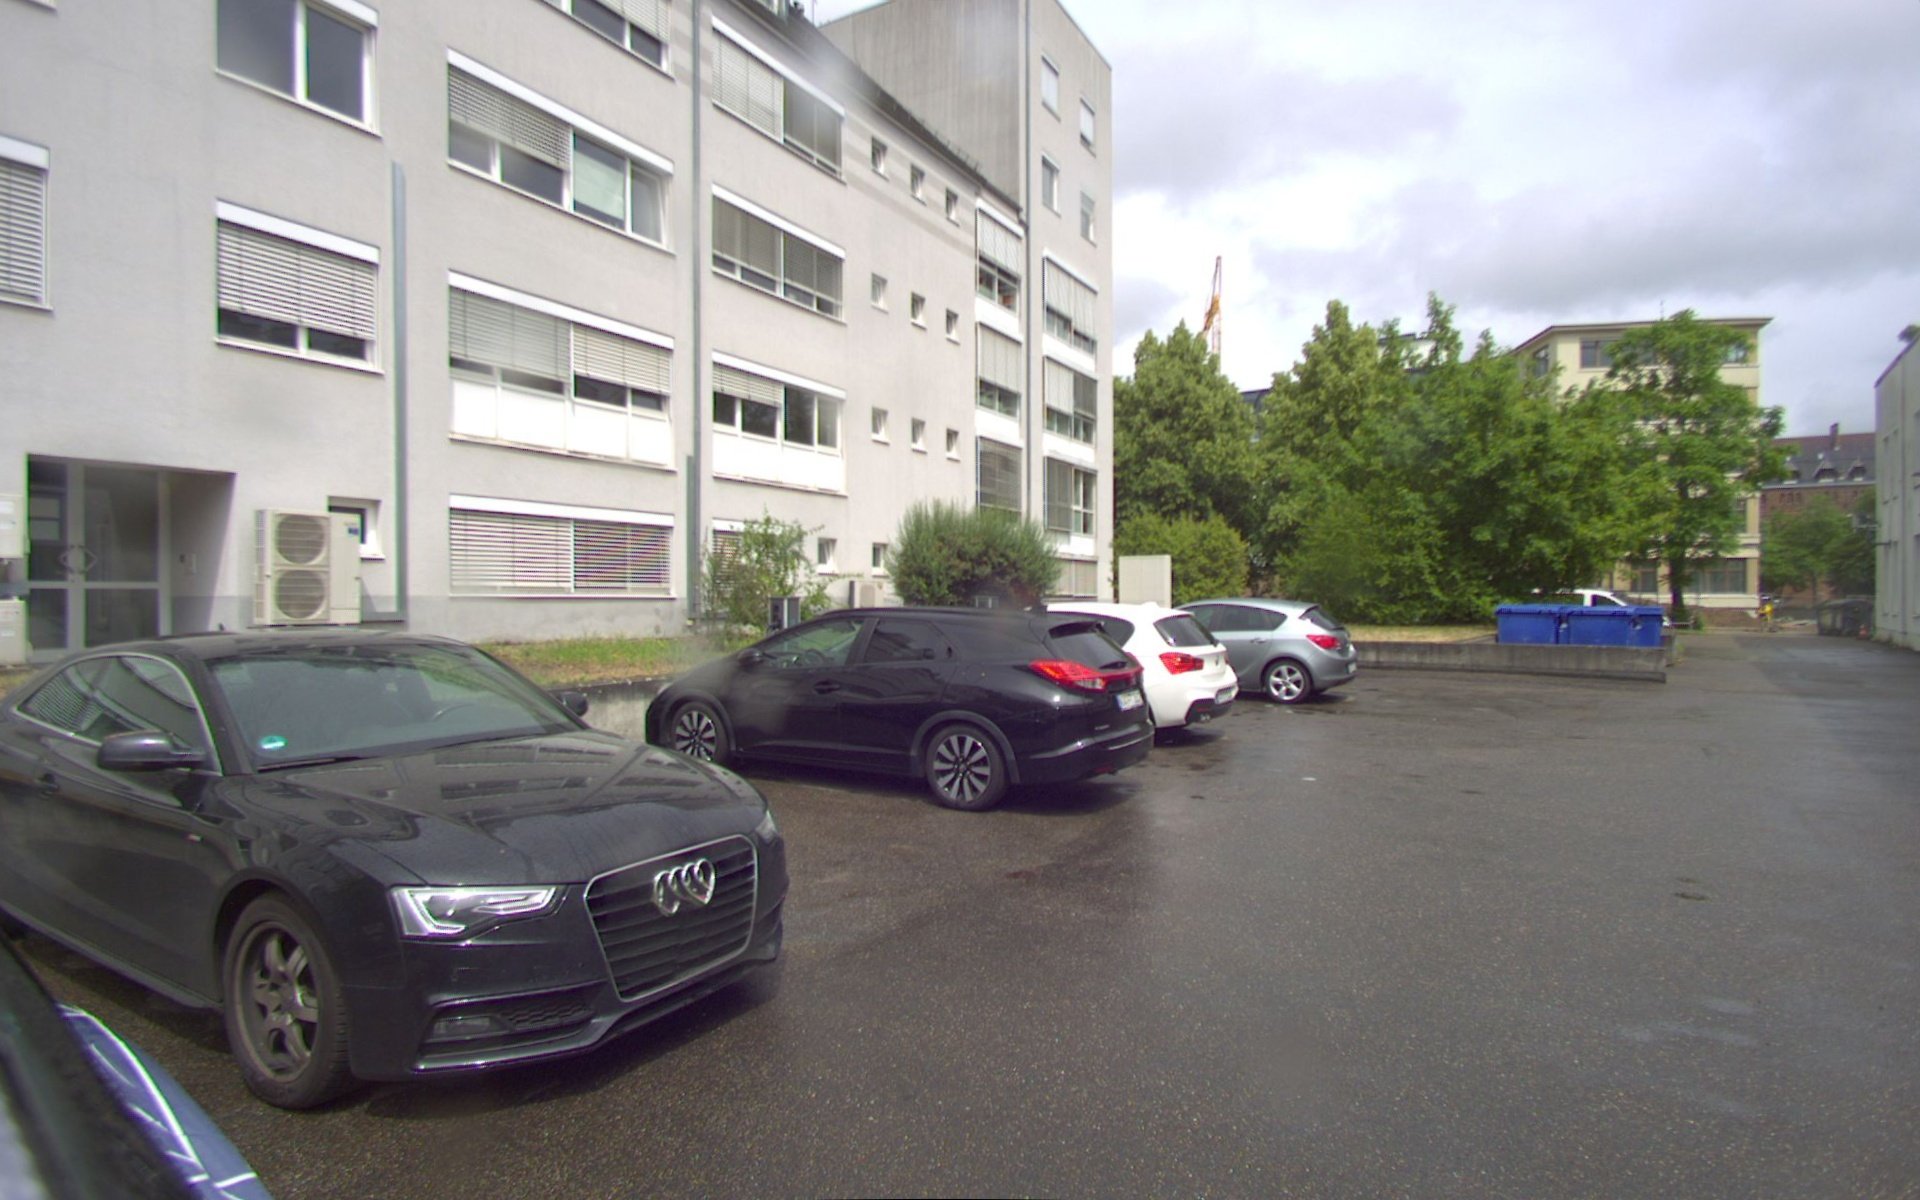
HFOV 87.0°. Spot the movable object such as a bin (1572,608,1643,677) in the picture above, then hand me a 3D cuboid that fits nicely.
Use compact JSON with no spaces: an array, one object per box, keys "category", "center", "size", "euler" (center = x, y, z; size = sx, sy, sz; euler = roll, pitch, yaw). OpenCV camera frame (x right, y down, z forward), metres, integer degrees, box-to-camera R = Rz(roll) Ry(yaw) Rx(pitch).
[{"category":"movable object such as a bin","center":[13.299,0.850,20.790],"size":[1.094,1.335,1.192],"euler":[-1,0,39]}]

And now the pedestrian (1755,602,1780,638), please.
[{"category":"pedestrian","center":[41.782,1.020,52.368],"size":[0.857,1.827,0.855],"euler":[-1,0,31]}]

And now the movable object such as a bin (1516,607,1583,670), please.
[{"category":"movable object such as a bin","center":[13.319,0.846,22.851],"size":[1.130,1.338,1.192],"euler":[-1,0,39]}]

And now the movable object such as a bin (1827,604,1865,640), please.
[{"category":"movable object such as a bin","center":[34.498,0.840,39.422],"size":[1.045,1.366,1.192],"euler":[-1,0,39]}]

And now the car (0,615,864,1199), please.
[{"category":"car","center":[-2.740,0.799,4.316],"size":[4.512,1.362,1.745],"euler":[1,1,31]}]

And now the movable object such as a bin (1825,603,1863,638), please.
[{"category":"movable object such as a bin","center":[35.348,0.825,40.496],"size":[1.062,1.366,1.202],"euler":[-1,0,39]}]

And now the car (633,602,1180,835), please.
[{"category":"car","center":[-0.528,0.771,8.397],"size":[4.298,1.453,1.745],"euler":[1,1,30]}]

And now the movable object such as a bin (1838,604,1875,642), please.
[{"category":"movable object such as a bin","center":[33.647,0.854,37.997],"size":[0.978,1.366,0.907],"euler":[-1,0,39]}]

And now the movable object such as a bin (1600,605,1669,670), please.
[{"category":"movable object such as a bin","center":[14.654,0.794,21.966],"size":[1.130,1.338,1.192],"euler":[-1,0,39]}]

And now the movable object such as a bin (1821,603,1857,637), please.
[{"category":"movable object such as a bin","center":[36.263,0.810,41.761],"size":[1.065,1.366,1.248],"euler":[-1,0,39]}]

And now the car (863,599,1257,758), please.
[{"category":"car","center":[1.057,0.745,11.368],"size":[4.111,1.453,1.678],"euler":[1,1,31]}]

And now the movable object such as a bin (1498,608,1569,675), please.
[{"category":"movable object such as a bin","center":[12.234,0.865,21.599],"size":[1.130,1.338,1.192],"euler":[-1,0,39]}]

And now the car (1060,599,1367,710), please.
[{"category":"car","center":[3.852,0.736,15.578],"size":[4.298,1.453,1.745],"euler":[1,1,30]}]

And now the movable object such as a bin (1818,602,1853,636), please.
[{"category":"movable object such as a bin","center":[37.065,0.796,42.855],"size":[1.065,1.366,1.248],"euler":[-1,0,39]}]

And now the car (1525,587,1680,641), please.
[{"category":"car","center":[22.256,0.483,35.167],"size":[4.332,1.740,1.699],"euler":[-1,0,41]}]
